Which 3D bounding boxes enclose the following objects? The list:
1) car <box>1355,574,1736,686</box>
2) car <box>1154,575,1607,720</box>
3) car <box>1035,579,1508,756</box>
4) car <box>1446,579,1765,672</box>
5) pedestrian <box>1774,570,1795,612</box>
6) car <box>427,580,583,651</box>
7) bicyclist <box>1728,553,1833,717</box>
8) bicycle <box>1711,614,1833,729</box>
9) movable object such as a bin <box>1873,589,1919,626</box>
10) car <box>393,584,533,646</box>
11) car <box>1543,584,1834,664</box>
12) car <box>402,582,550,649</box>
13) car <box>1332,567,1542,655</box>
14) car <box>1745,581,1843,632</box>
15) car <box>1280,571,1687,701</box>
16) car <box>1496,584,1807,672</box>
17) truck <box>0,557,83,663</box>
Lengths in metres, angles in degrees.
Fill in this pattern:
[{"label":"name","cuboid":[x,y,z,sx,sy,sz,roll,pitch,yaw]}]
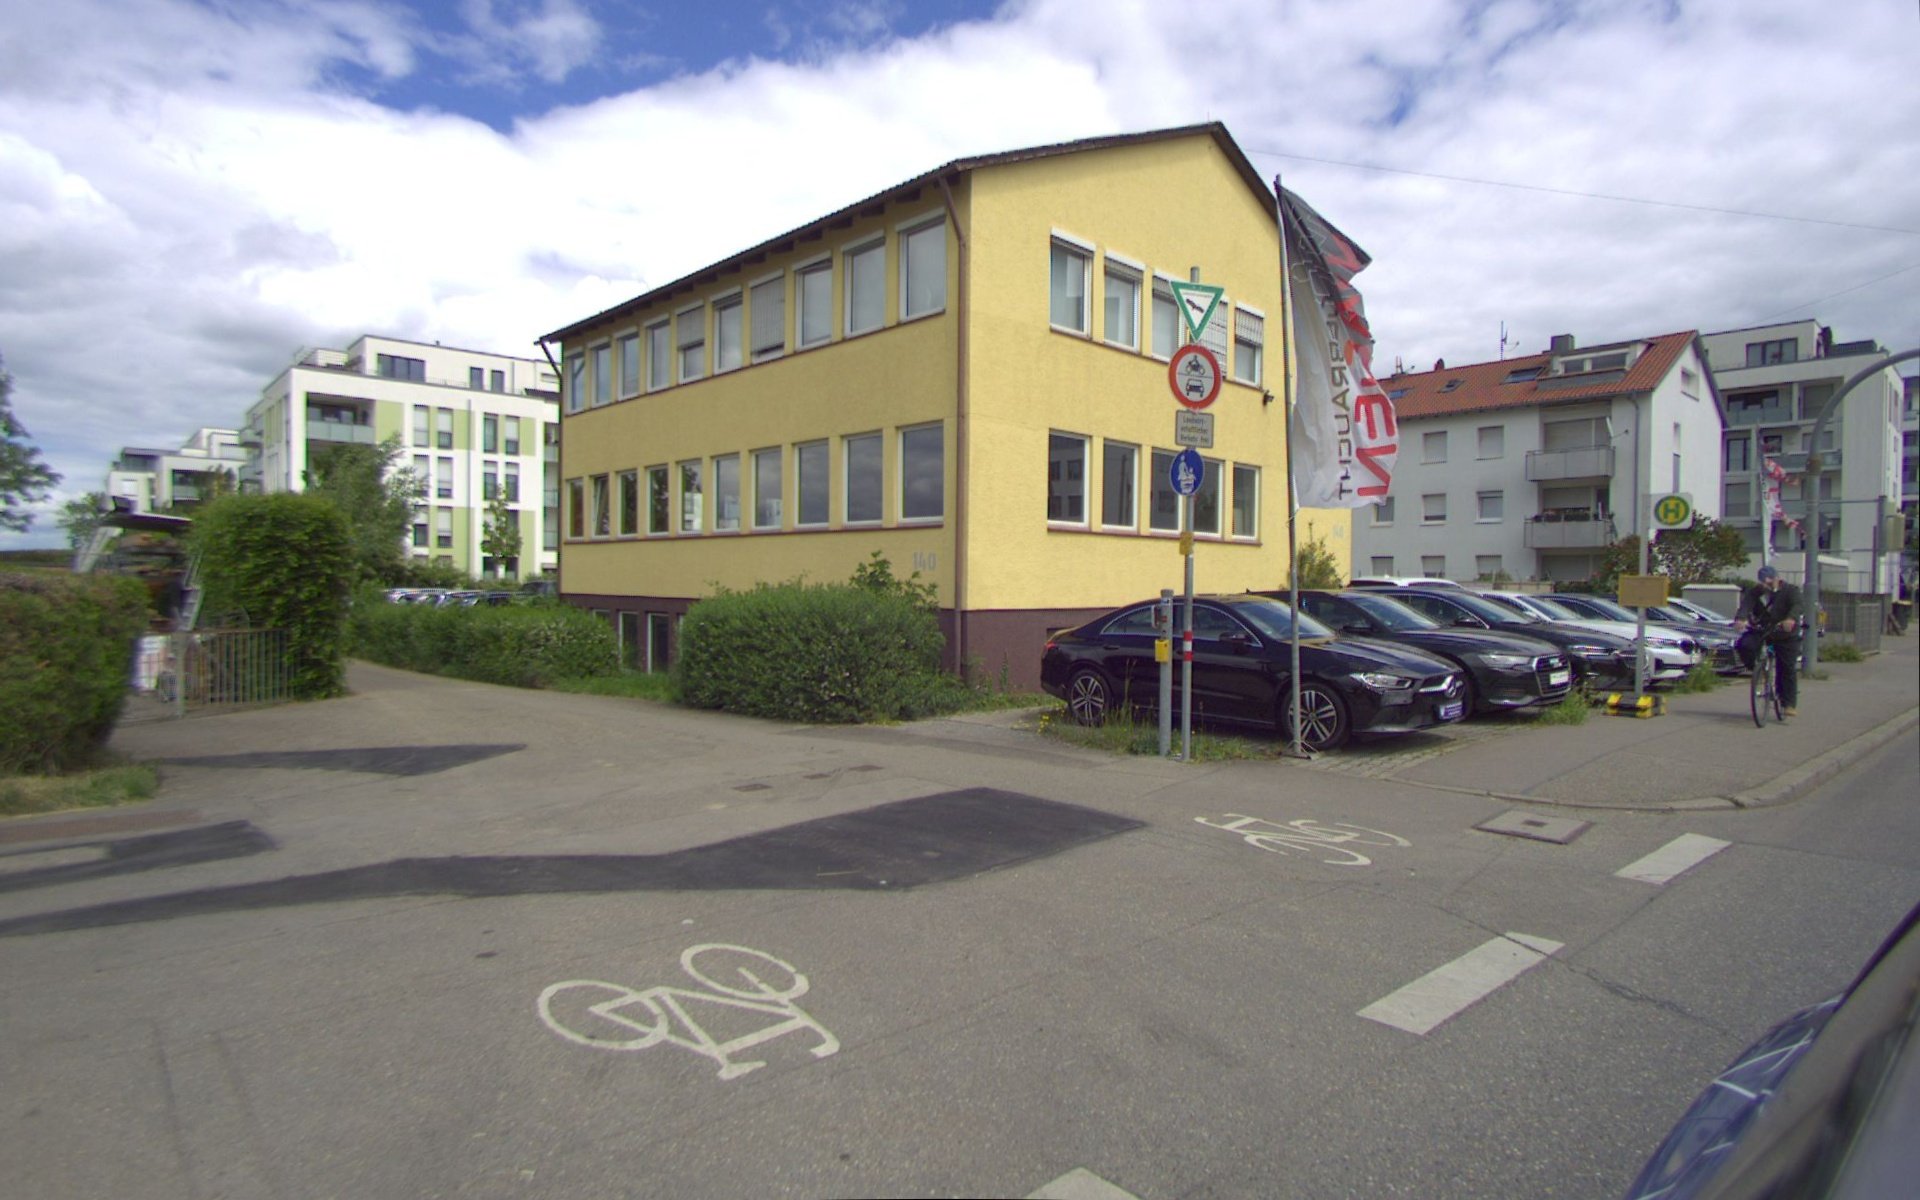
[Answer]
[{"label":"car","cuboid":[9.008,0.414,15.973,1.995,1.499,4.810,0,0,-39]},{"label":"car","cuboid":[4.986,0.492,12.650,2.002,1.448,4.860,0,0,-40]},{"label":"car","cuboid":[3.048,0.560,10.592,1.971,1.416,4.326,-2,1,-42]},{"label":"car","cuboid":[11.198,0.406,17.791,1.955,1.422,4.374,0,0,-42]},{"label":"pedestrian","cuboid":[35.104,-0.384,43.089,0.490,1.787,0.509,-1,0,-24]},{"label":"car","cuboid":[-13.692,0.415,30.533,3.928,1.956,1.998,-1,0,-38]},{"label":"bicyclist","cuboid":[9.032,0.355,11.141,0.874,1.695,0.639,0,4,-41]},{"label":"bicycle","cuboid":[8.919,0.735,11.088,1.943,1.076,0.639,0,5,-41]},{"label":"movable object such as a bin","cuboid":[37.212,0.272,39.970,1.225,1.378,1.326,-1,2,-25]},{"label":"car","cuboid":[-16.830,0.467,34.299,3.928,1.956,1.998,-1,0,-38]},{"label":"car","cuboid":[15.309,0.430,21.490,2.010,1.512,4.704,0,0,-41]},{"label":"car","cuboid":[-15.413,0.445,32.307,3.928,1.956,1.998,-1,0,-38]},{"label":"car","cuboid":[11.067,0.165,23.370,4.931,1.843,1.985,-1,2,-31]},{"label":"car","cuboid":[27.543,0.180,33.386,4.444,1.564,1.878,0,2,-42]},{"label":"car","cuboid":[7.104,0.431,14.198,1.979,1.512,4.686,0,0,-39]},{"label":"car","cuboid":[13.282,0.445,19.682,1.999,1.512,4.667,0,1,-41]},{"label":"truck","cuboid":[-25.966,0.182,28.050,2.133,2.676,5.920,-1,2,-45]}]
